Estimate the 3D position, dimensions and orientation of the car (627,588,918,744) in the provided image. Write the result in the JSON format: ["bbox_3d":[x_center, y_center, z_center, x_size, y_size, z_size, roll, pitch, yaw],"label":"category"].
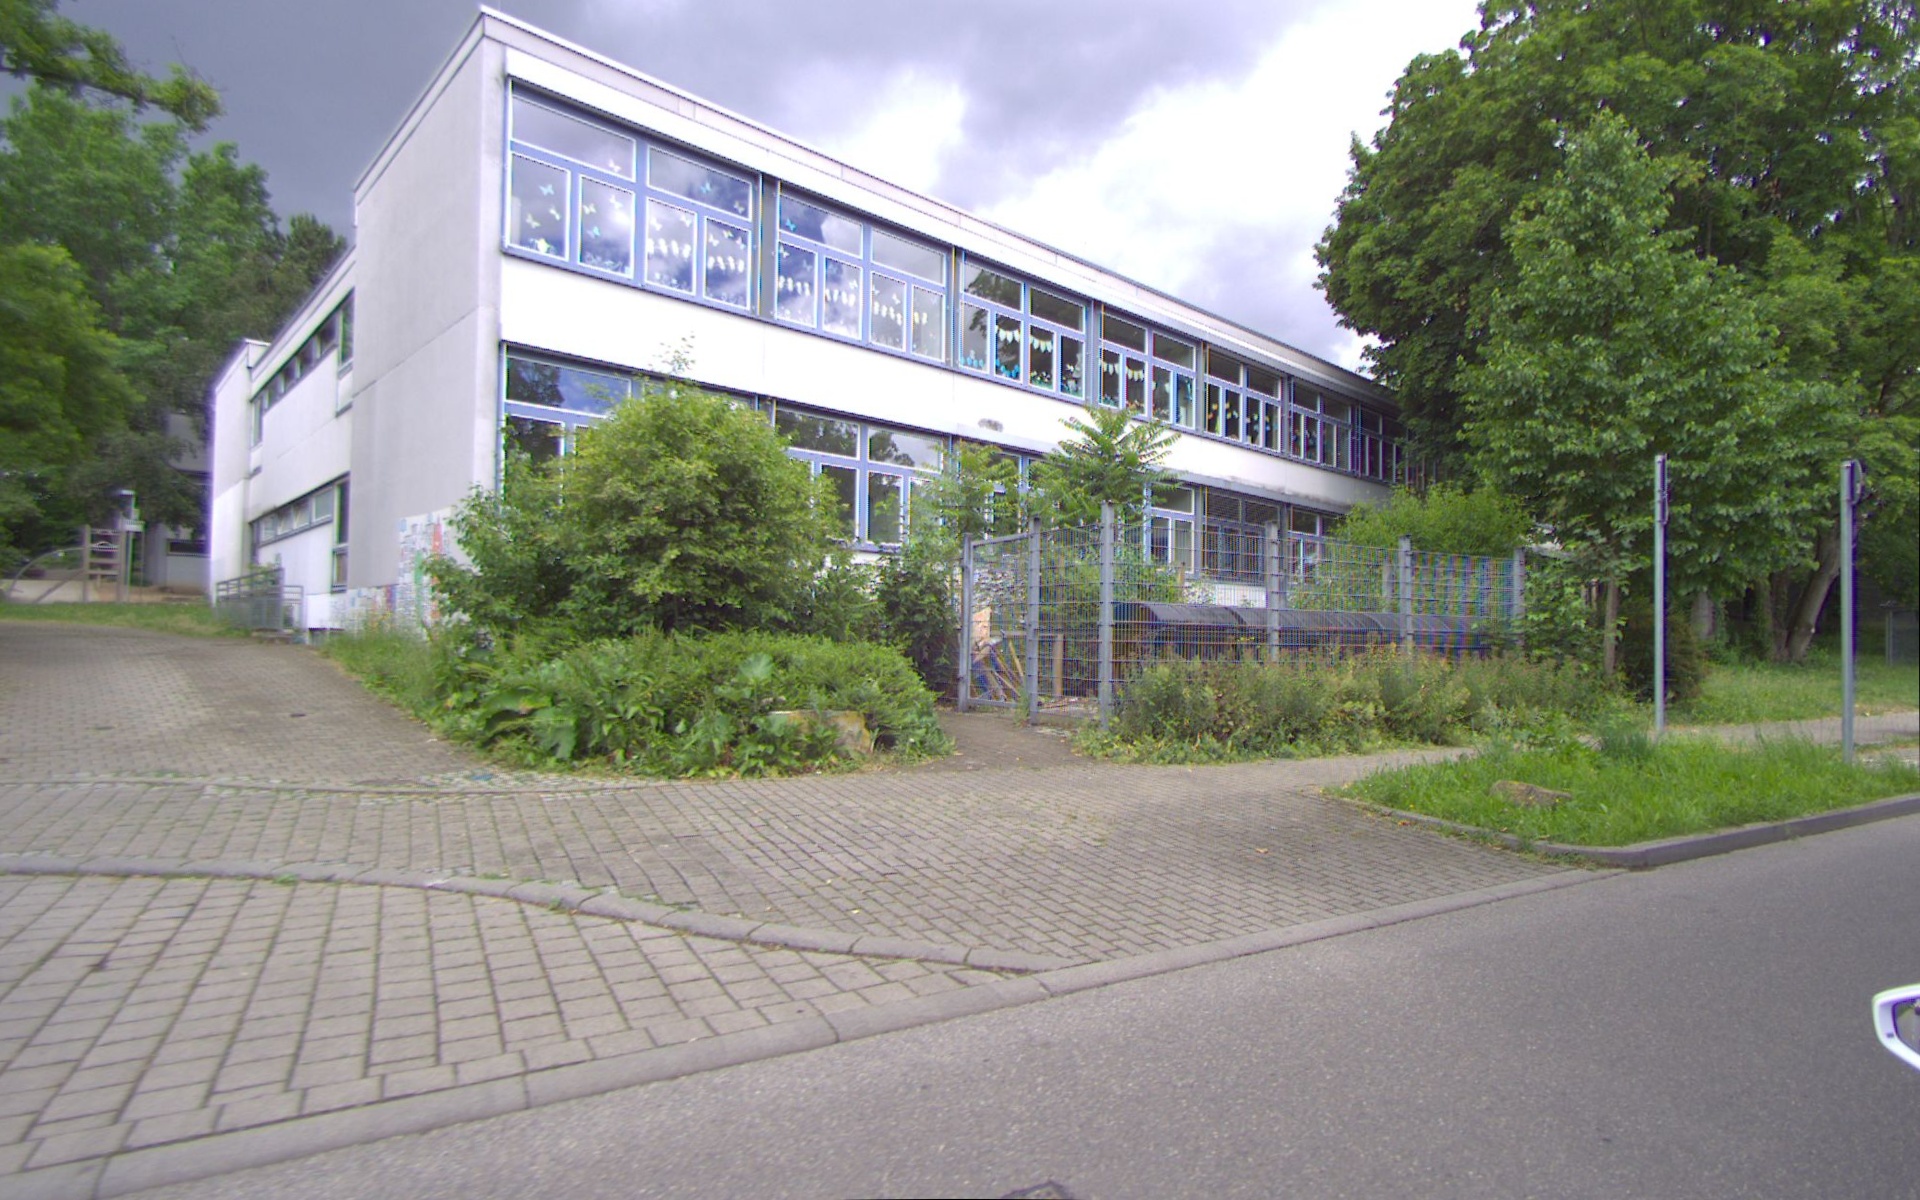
[{"bbox_3d":[-2.775,0.922,14.721,3.937,2.040,1.992,1,-2,-18],"label":"car"}]
